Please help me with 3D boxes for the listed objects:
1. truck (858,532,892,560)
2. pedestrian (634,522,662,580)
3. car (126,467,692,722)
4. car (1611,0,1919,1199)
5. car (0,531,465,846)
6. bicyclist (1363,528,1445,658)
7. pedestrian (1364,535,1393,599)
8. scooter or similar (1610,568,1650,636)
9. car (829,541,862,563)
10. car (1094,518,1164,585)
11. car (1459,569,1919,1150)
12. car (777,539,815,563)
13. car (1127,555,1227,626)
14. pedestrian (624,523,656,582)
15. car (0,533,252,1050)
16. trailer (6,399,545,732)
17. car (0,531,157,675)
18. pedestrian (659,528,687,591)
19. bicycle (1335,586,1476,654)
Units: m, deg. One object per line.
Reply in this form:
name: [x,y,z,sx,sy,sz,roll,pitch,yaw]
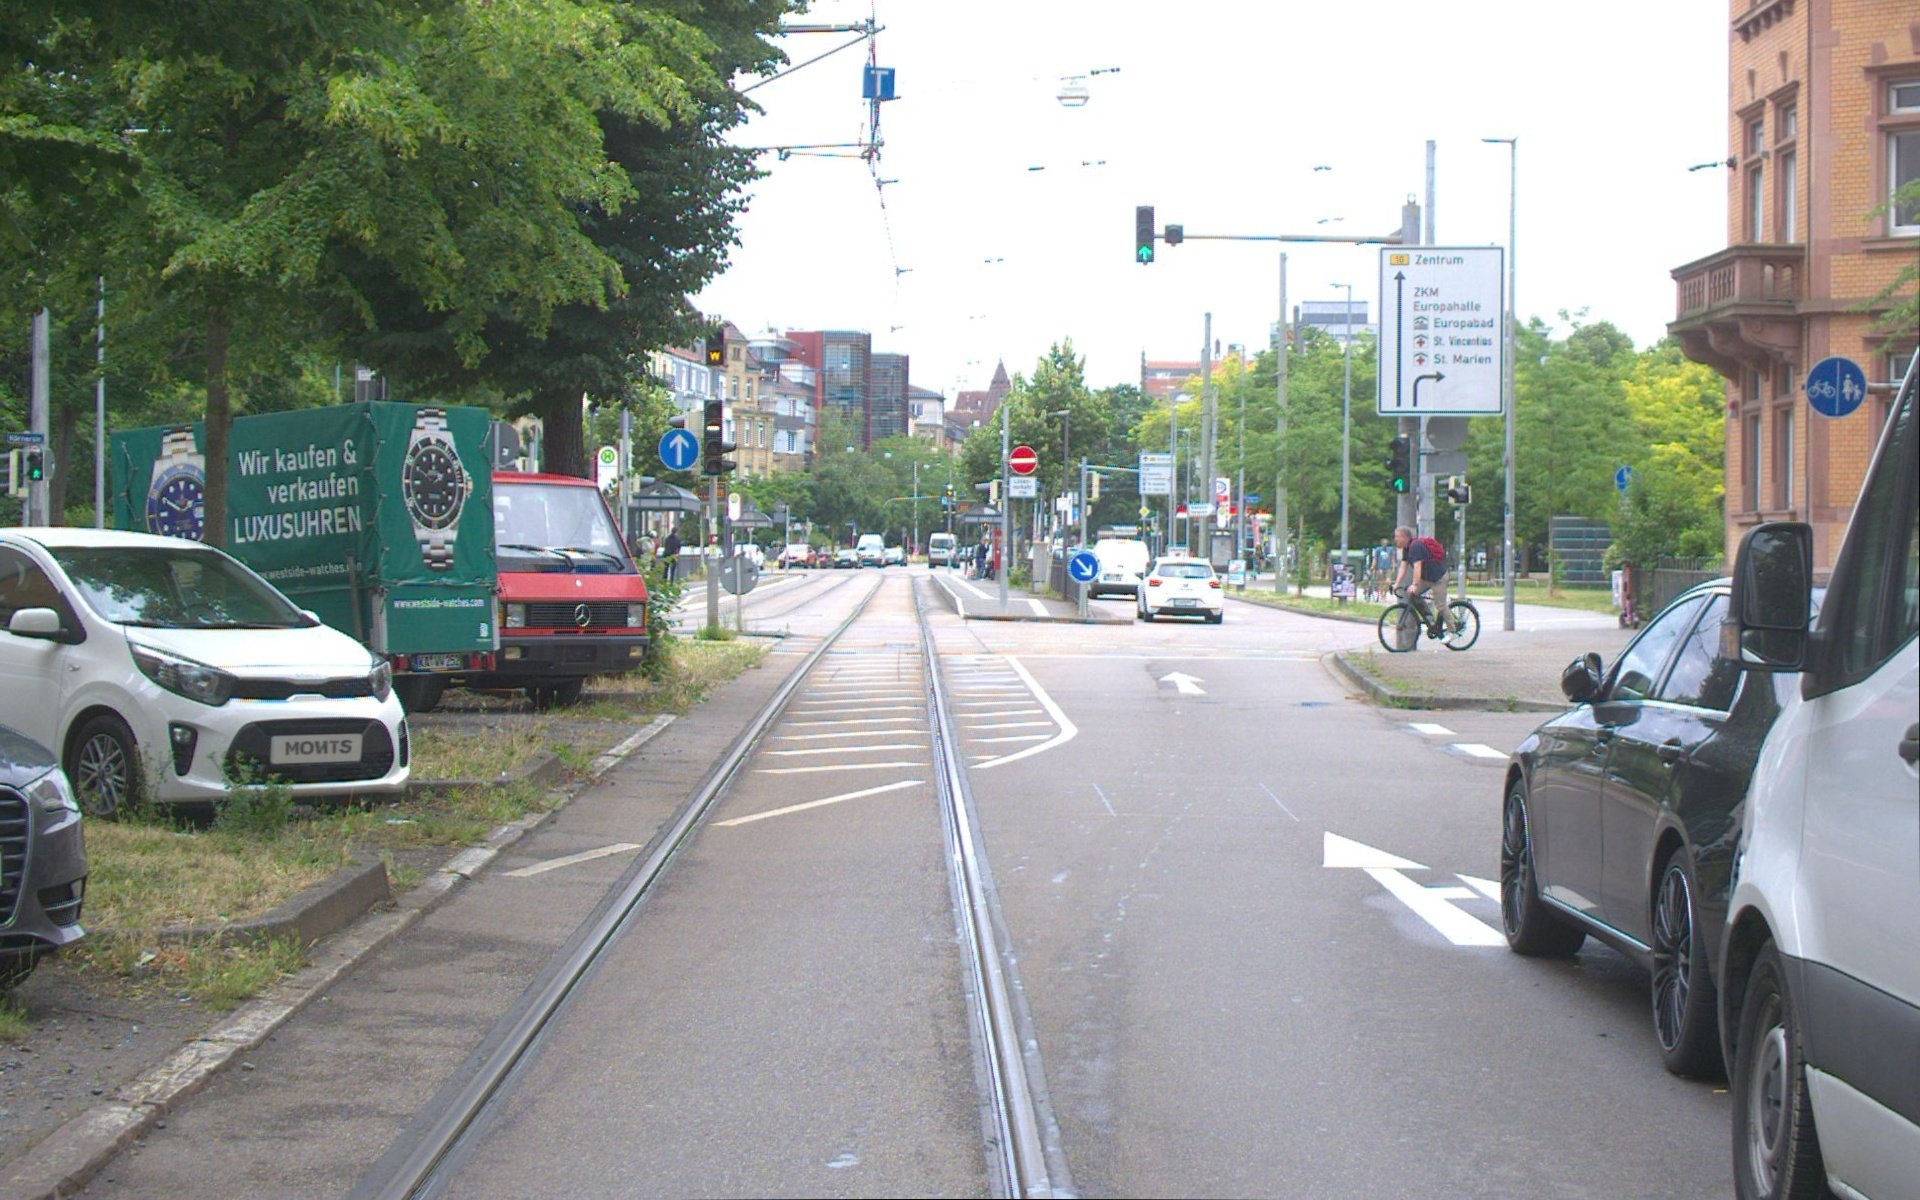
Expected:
truck: [-6.180,-3.933,250.810,1.788,2.025,5.395,1,0,6]
pedestrian: [-8.892,-1.392,98.032,0.768,1.654,1.025,0,1,-3]
car: [-4.675,-0.090,28.803,4.763,1.967,1.955,1,1,38]
car: [2.646,0.247,4.899,2.013,2.540,7.017,2,1,0]
car: [-4.497,0.376,17.941,3.860,1.458,1.685,2,1,42]
bicyclist: [6.194,-0.099,47.998,0.679,1.789,0.891,1,1,-32]
pedestrian: [12.122,-0.961,99.634,0.739,1.863,0.682,0,1,-1]
scooter or similar: [11.339,0.030,58.221,0.376,1.137,1.200,0,1,-3]
car: [-7.919,-3.290,237.541,1.770,1.488,3.886,1,0,6]
car: [5.086,-1.486,104.035,1.782,1.956,4.383,1,1,-1]
car: [2.923,0.663,11.309,1.824,1.445,5.007,2,1,0]
car: [-10.184,-3.038,213.611,1.770,1.488,3.886,1,0,6]
car: [4.753,-0.236,75.845,1.782,1.467,4.011,1,1,-2]
pedestrian: [-8.840,-1.306,94.927,0.678,1.618,0.633,0,1,18]
car: [-4.343,0.489,10.876,4.337,1.430,1.894,2,1,42]
trailer: [-5.176,-0.283,25.938,3.666,2.336,1.927,1,1,32]
car: [-9.419,0.008,35.013,1.644,1.378,3.884,1,1,-1]
pedestrian: [-7.893,-1.119,94.491,0.699,1.709,0.699,0,1,-9]
bicycle: [6.221,0.277,47.947,1.862,0.921,0.796,1,1,-33]
